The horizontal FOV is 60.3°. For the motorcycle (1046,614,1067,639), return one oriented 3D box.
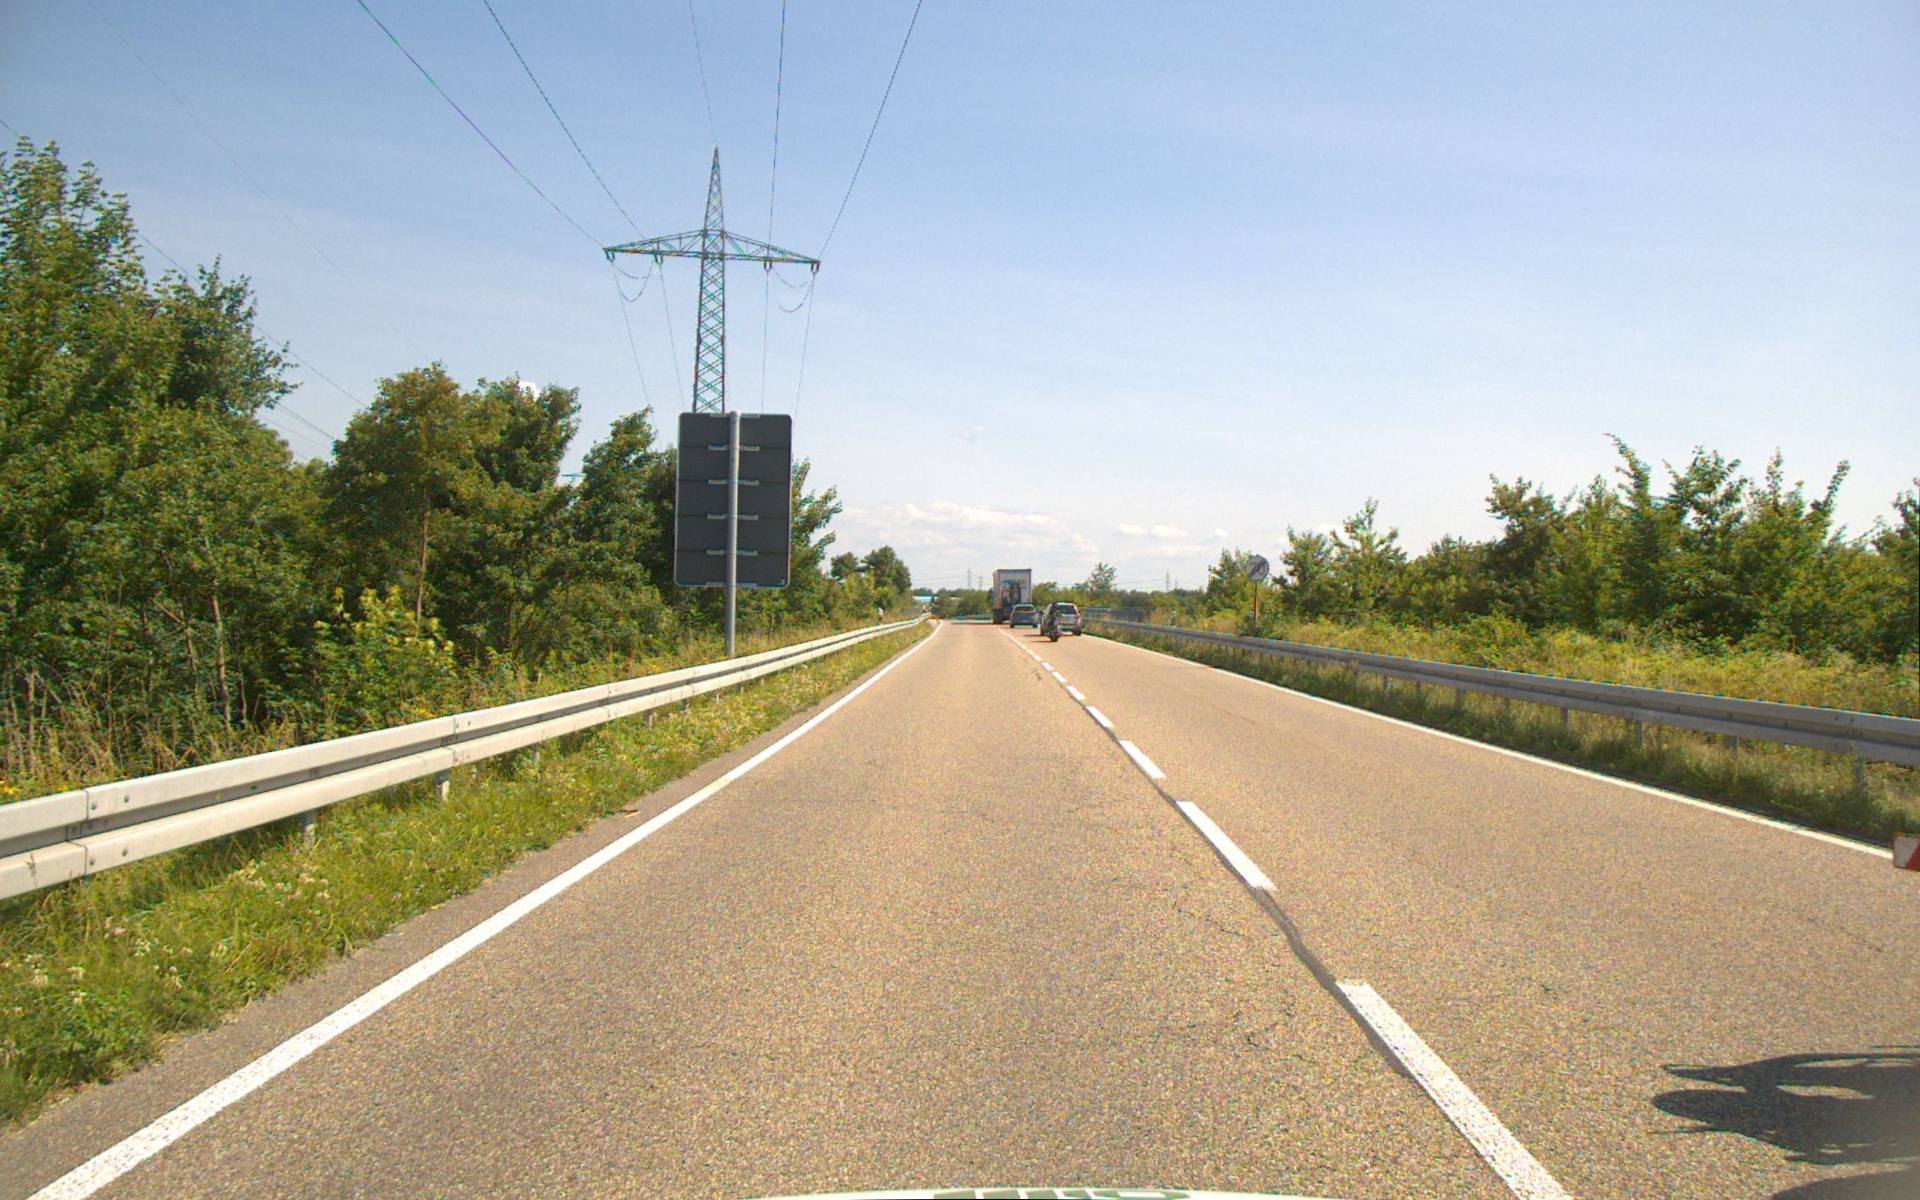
[{"bbox_3d":[3.902,1.072,67.292,0.764,0.993,2.362,0,0,1],"label":"motorcycle"}]

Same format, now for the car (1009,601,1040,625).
[{"bbox_3d":[4.063,0.795,104.214,1.827,1.445,4.000,1,0,1],"label":"car"}]

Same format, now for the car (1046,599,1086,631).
[{"bbox_3d":[5.118,0.711,80.200,1.788,1.477,4.001,0,0,1],"label":"car"}]

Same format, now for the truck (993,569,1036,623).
[{"bbox_3d":[4.147,-0.277,127.424,3.174,4.048,9.445,0,0,1],"label":"truck"}]

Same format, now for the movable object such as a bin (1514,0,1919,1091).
[{"bbox_3d":[4.294,-0.438,4.147,2.697,3.906,9.445,0,0,0],"label":"movable object such as a bin"}]

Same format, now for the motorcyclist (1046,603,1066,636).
[{"bbox_3d":[3.914,0.798,67.312,0.764,1.349,0.813,0,0,1],"label":"motorcyclist"}]
